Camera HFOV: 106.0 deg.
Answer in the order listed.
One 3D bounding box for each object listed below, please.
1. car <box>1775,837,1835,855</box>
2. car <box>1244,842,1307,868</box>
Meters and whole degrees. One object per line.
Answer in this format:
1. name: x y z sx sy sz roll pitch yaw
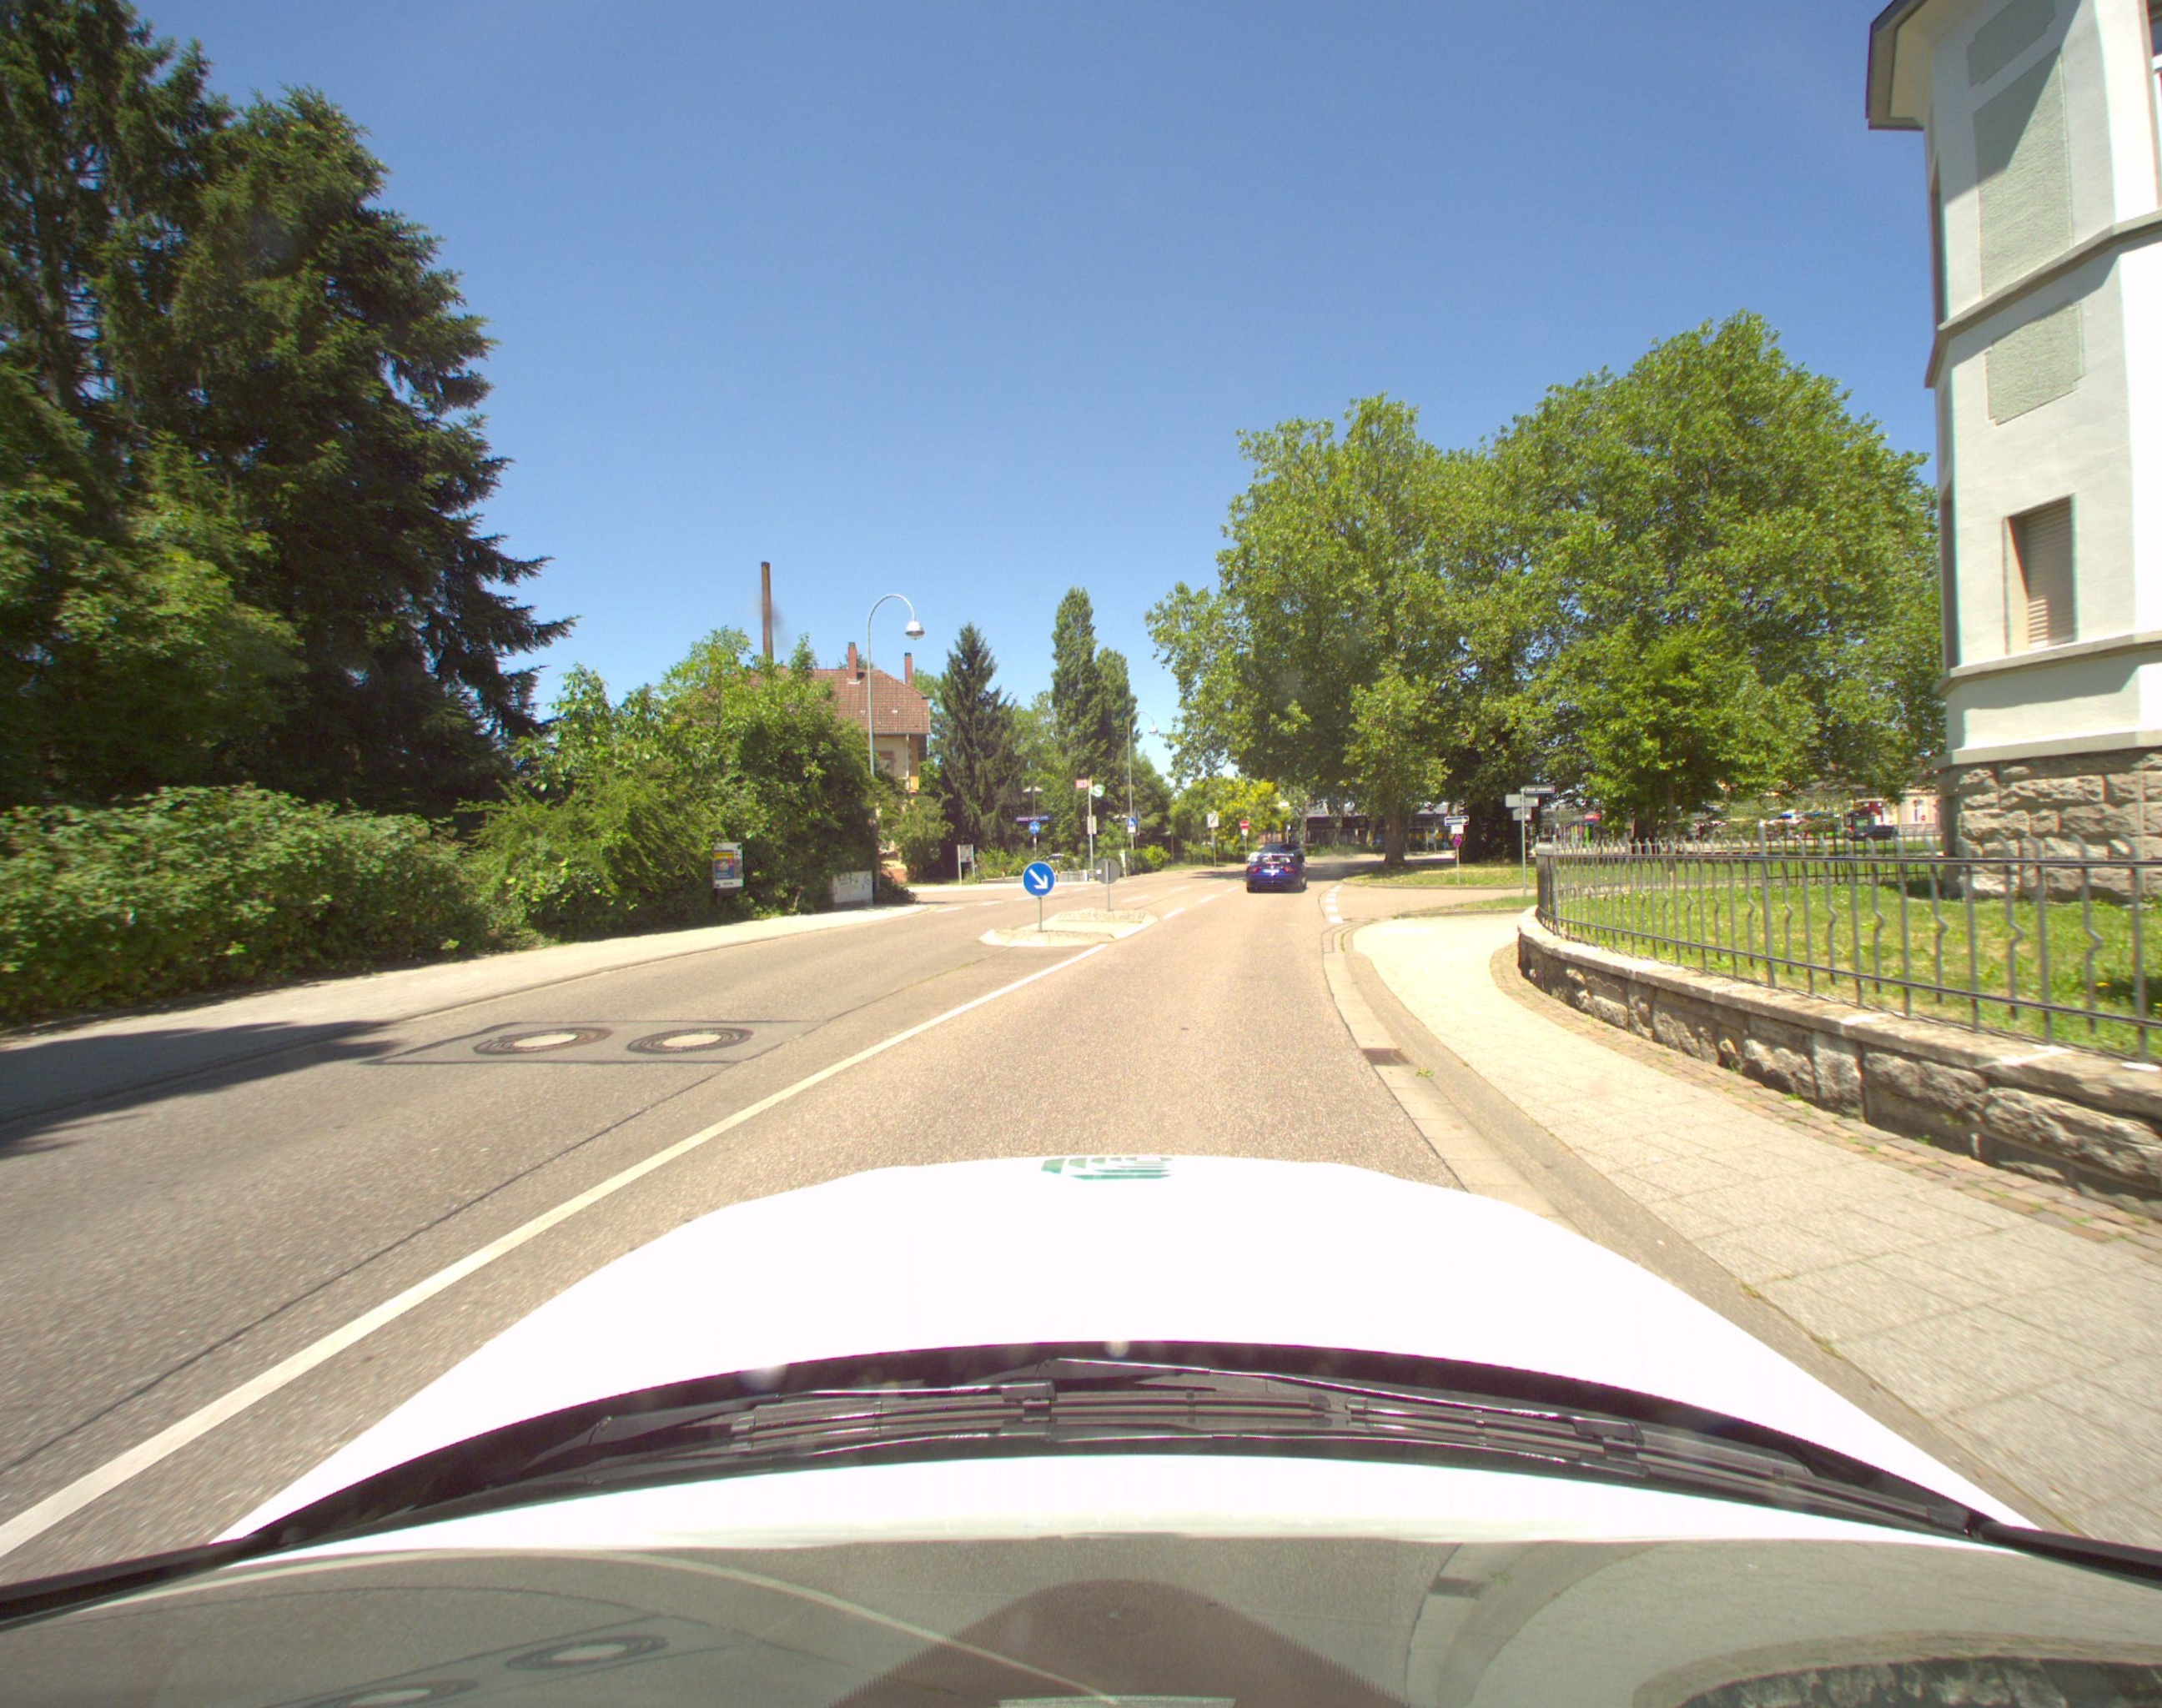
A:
1. car: 67.378 -0.730 75.781 4.777 1.478 1.716 -2 -1 -14
2. car: 12.274 0.058 51.181 1.827 1.530 4.365 -1 1 44
